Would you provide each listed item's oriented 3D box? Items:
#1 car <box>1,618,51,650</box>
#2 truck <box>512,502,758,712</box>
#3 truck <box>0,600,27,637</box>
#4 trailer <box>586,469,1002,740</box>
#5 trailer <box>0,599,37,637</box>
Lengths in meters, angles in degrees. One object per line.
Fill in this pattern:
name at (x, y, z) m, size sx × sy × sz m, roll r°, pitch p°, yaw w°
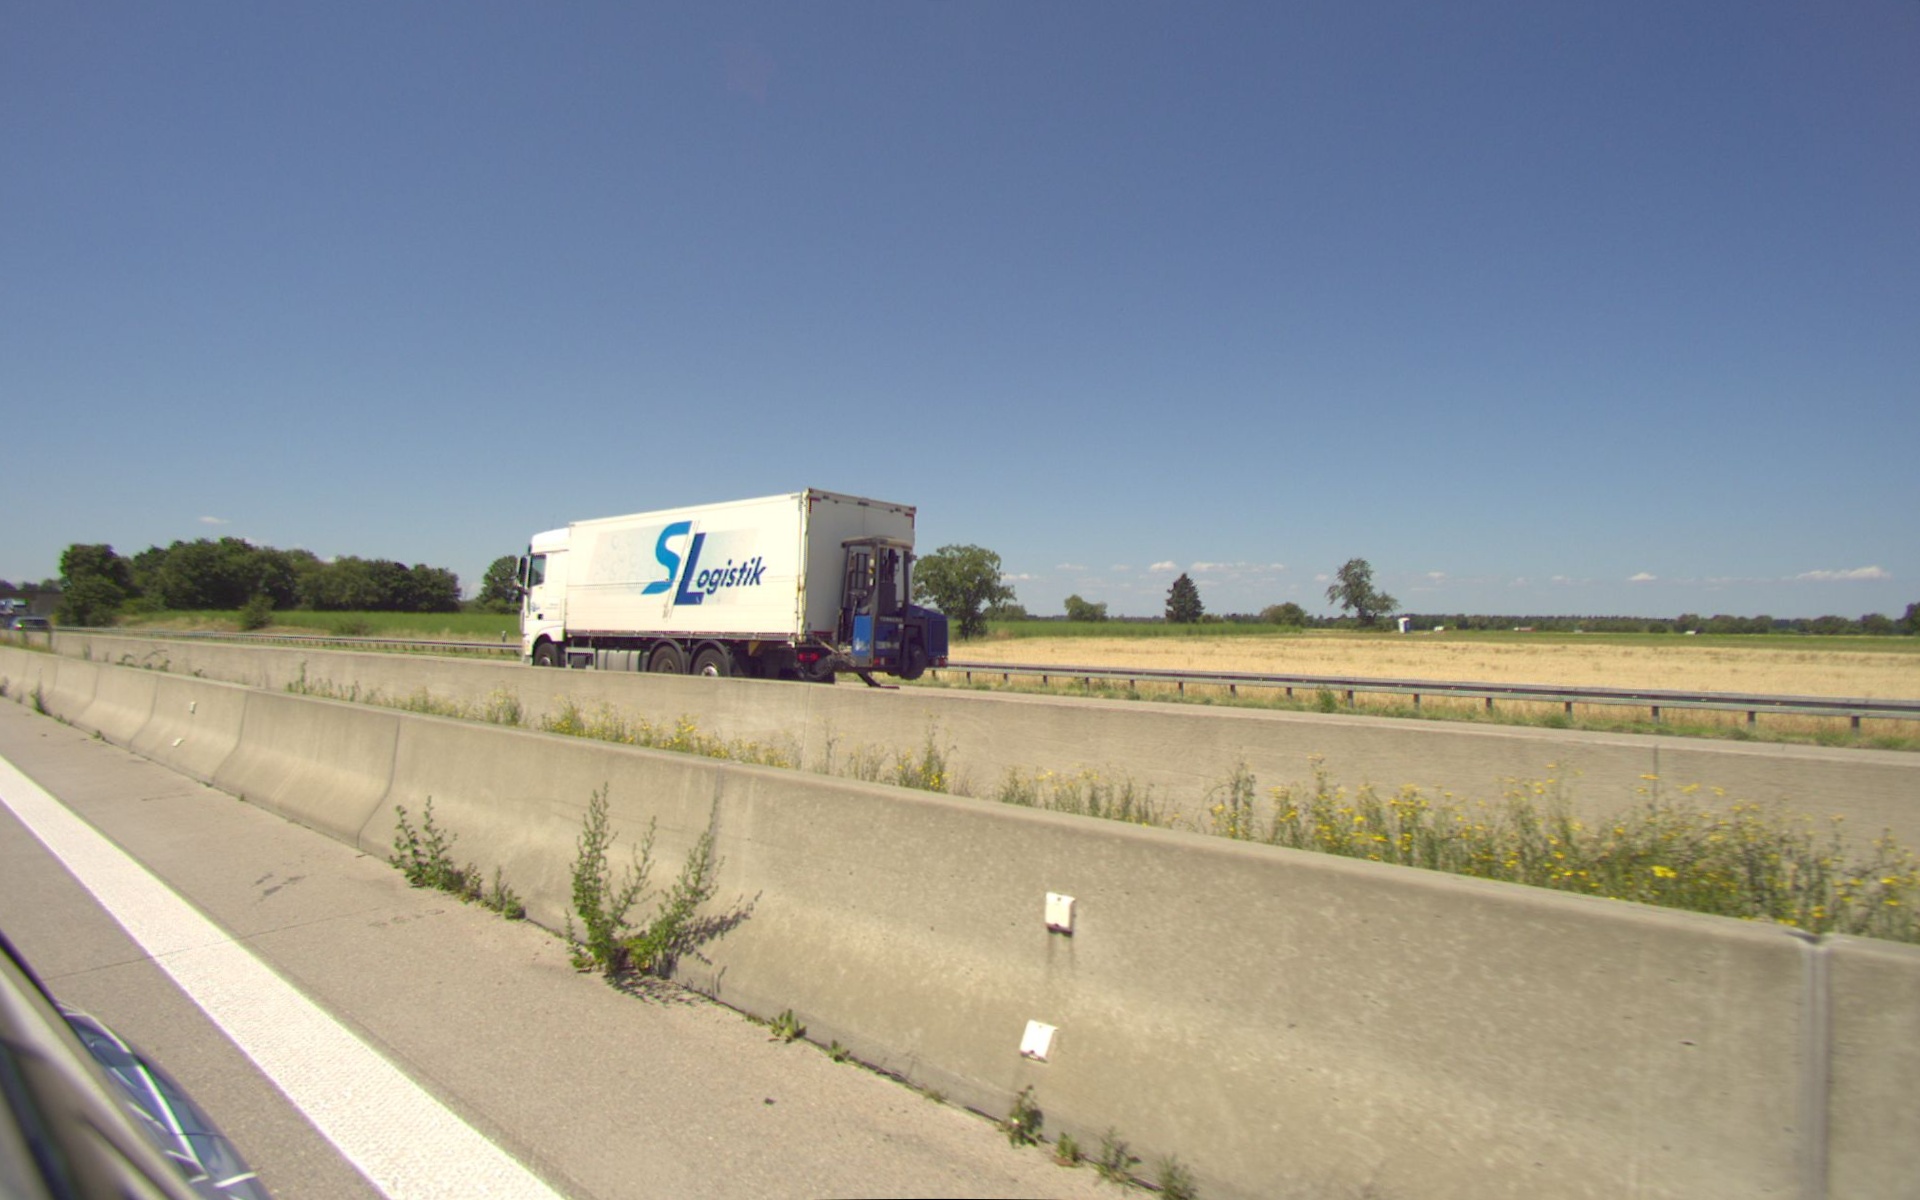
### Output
car at (-54.190, 1.950, 58.694) m, size 4.140 × 1.742 × 1.843 m, roll -1°, pitch 0°, yaw 43°
truck at (-7.141, 0.162, 22.011) m, size 5.042 × 4.000 × 2.870 m, roll -1°, pitch 0°, yaw 41°
truck at (-123.260, 2.418, 130.814) m, size 6.247 × 4.641 × 3.198 m, roll -1°, pitch 0°, yaw 41°
trailer at (-3.436, 0.110, 18.792) m, size 8.473 × 4.000 × 2.870 m, roll -1°, pitch 0°, yaw 41°
trailer at (-118.810, 2.242, 126.888) m, size 12.287 × 4.641 × 3.198 m, roll -1°, pitch 0°, yaw 41°
